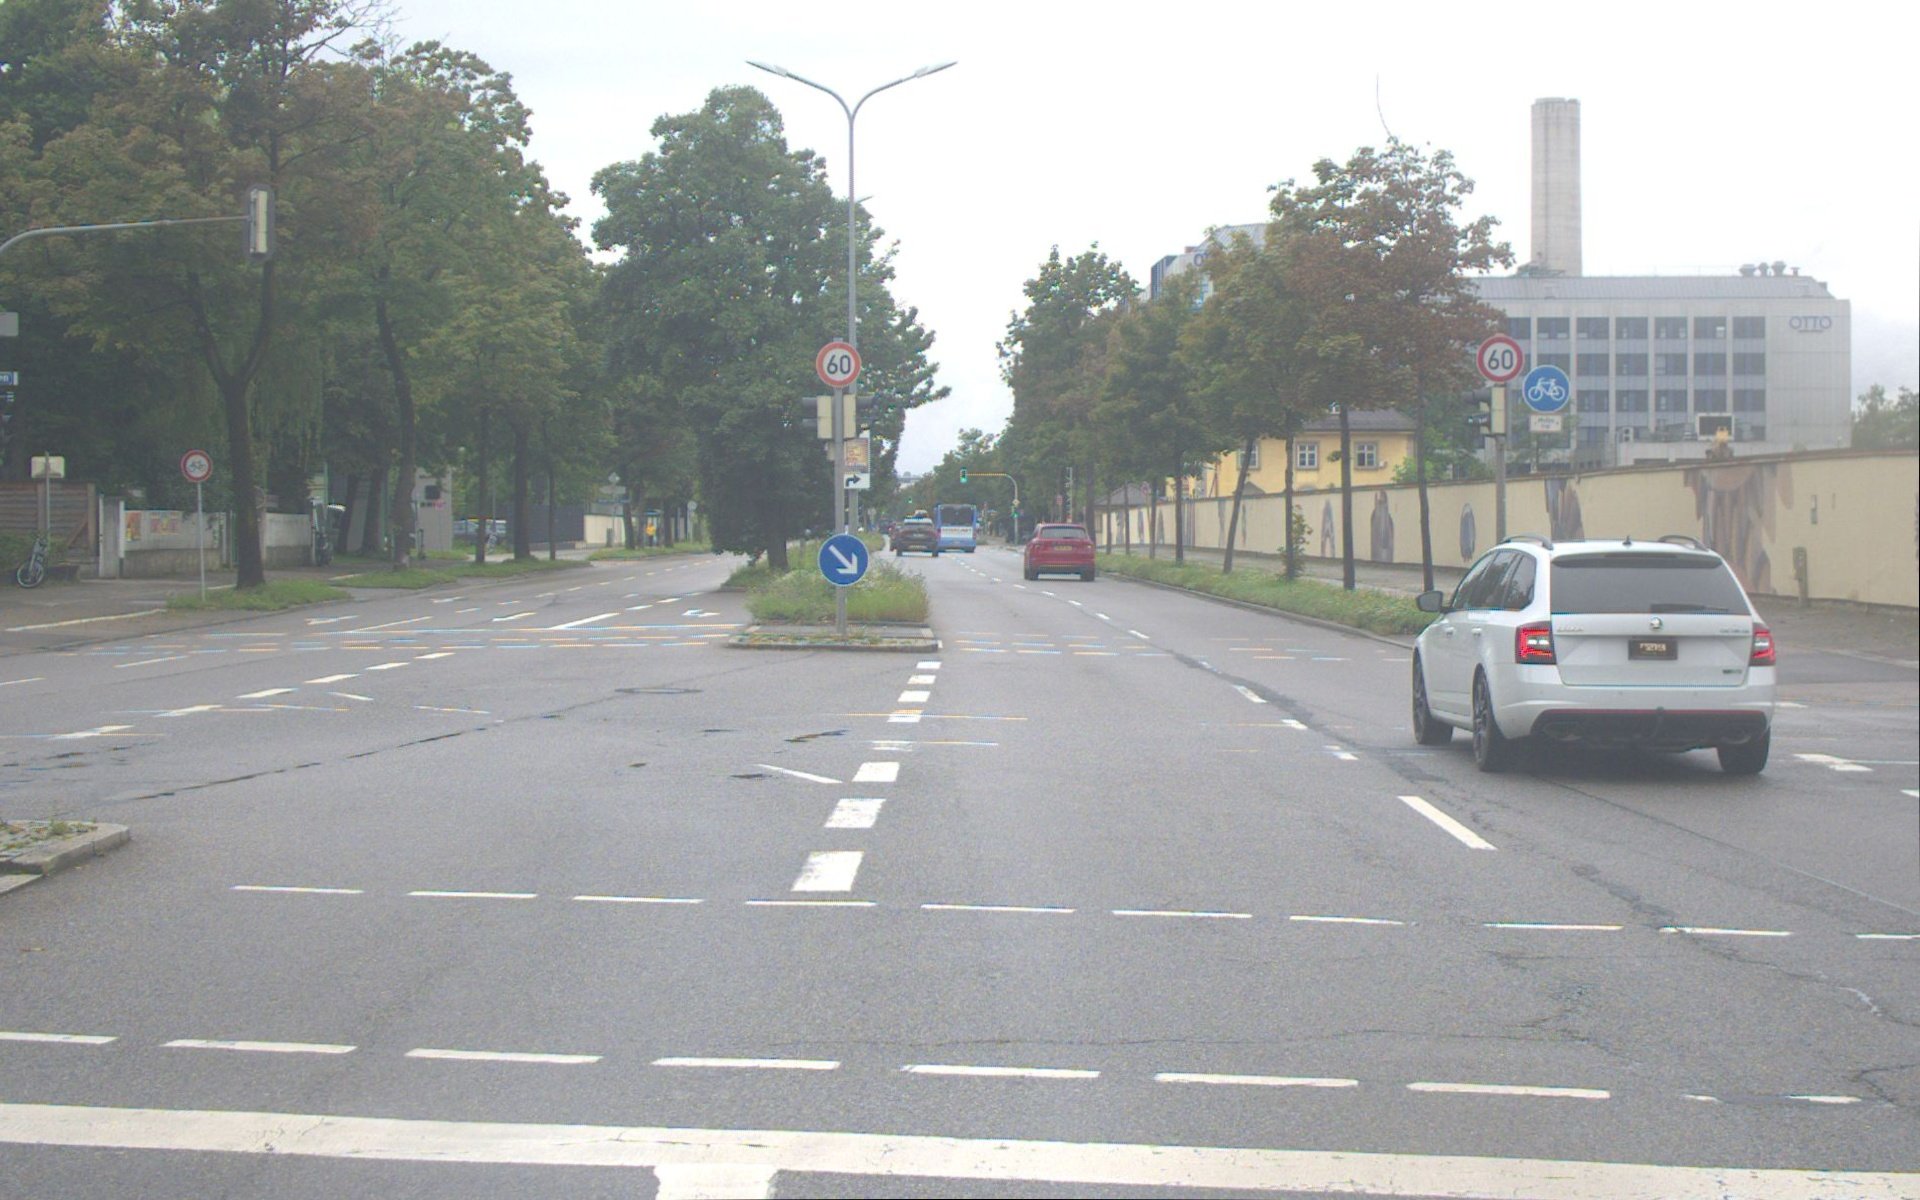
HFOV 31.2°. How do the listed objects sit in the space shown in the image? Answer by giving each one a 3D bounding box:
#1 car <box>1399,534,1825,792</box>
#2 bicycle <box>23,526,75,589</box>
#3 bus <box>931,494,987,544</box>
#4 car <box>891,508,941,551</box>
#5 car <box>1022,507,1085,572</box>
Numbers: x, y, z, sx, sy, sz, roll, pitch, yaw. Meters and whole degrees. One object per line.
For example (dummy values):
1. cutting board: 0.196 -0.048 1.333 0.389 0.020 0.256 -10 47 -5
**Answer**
1. car: 4.097 0.325 22.341 1.878 1.463 4.502 1 1 0
2. bicycle: -19.426 -0.920 73.322 0.582 1.291 2.455 1 1 -3
3. bus: -0.113 -5.256 223.491 3.220 3.116 10.346 1 1 -2
4. car: -1.990 -3.161 153.416 2.084 1.859 4.387 1 1 -2
5. car: 2.546 -1.675 94.253 1.484 1.710 3.551 1 1 -2
